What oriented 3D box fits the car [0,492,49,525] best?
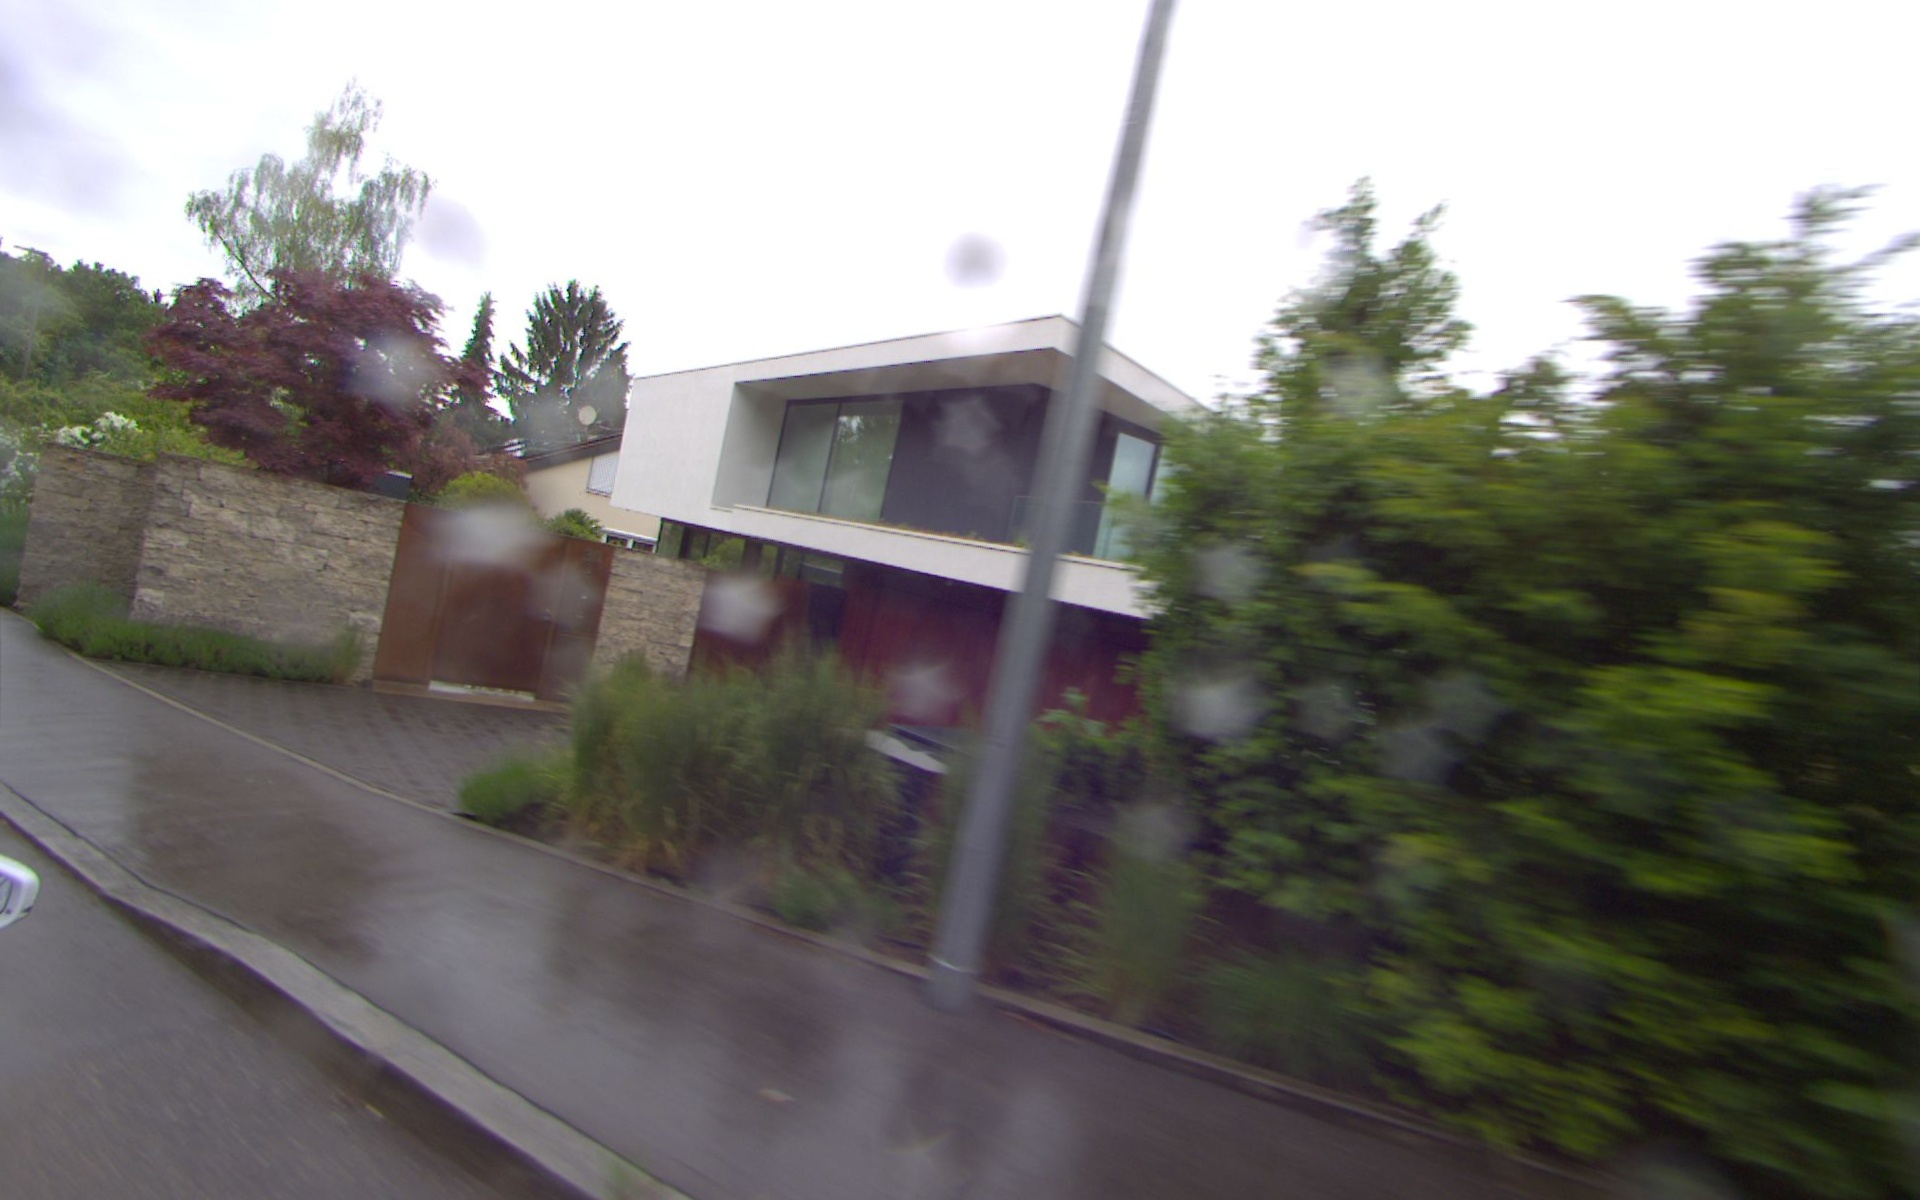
[{"bbox_3d":[-56.684,-5.565,59.611,1.971,1.523,4.560,10,-3,-15],"label":"car"}]
